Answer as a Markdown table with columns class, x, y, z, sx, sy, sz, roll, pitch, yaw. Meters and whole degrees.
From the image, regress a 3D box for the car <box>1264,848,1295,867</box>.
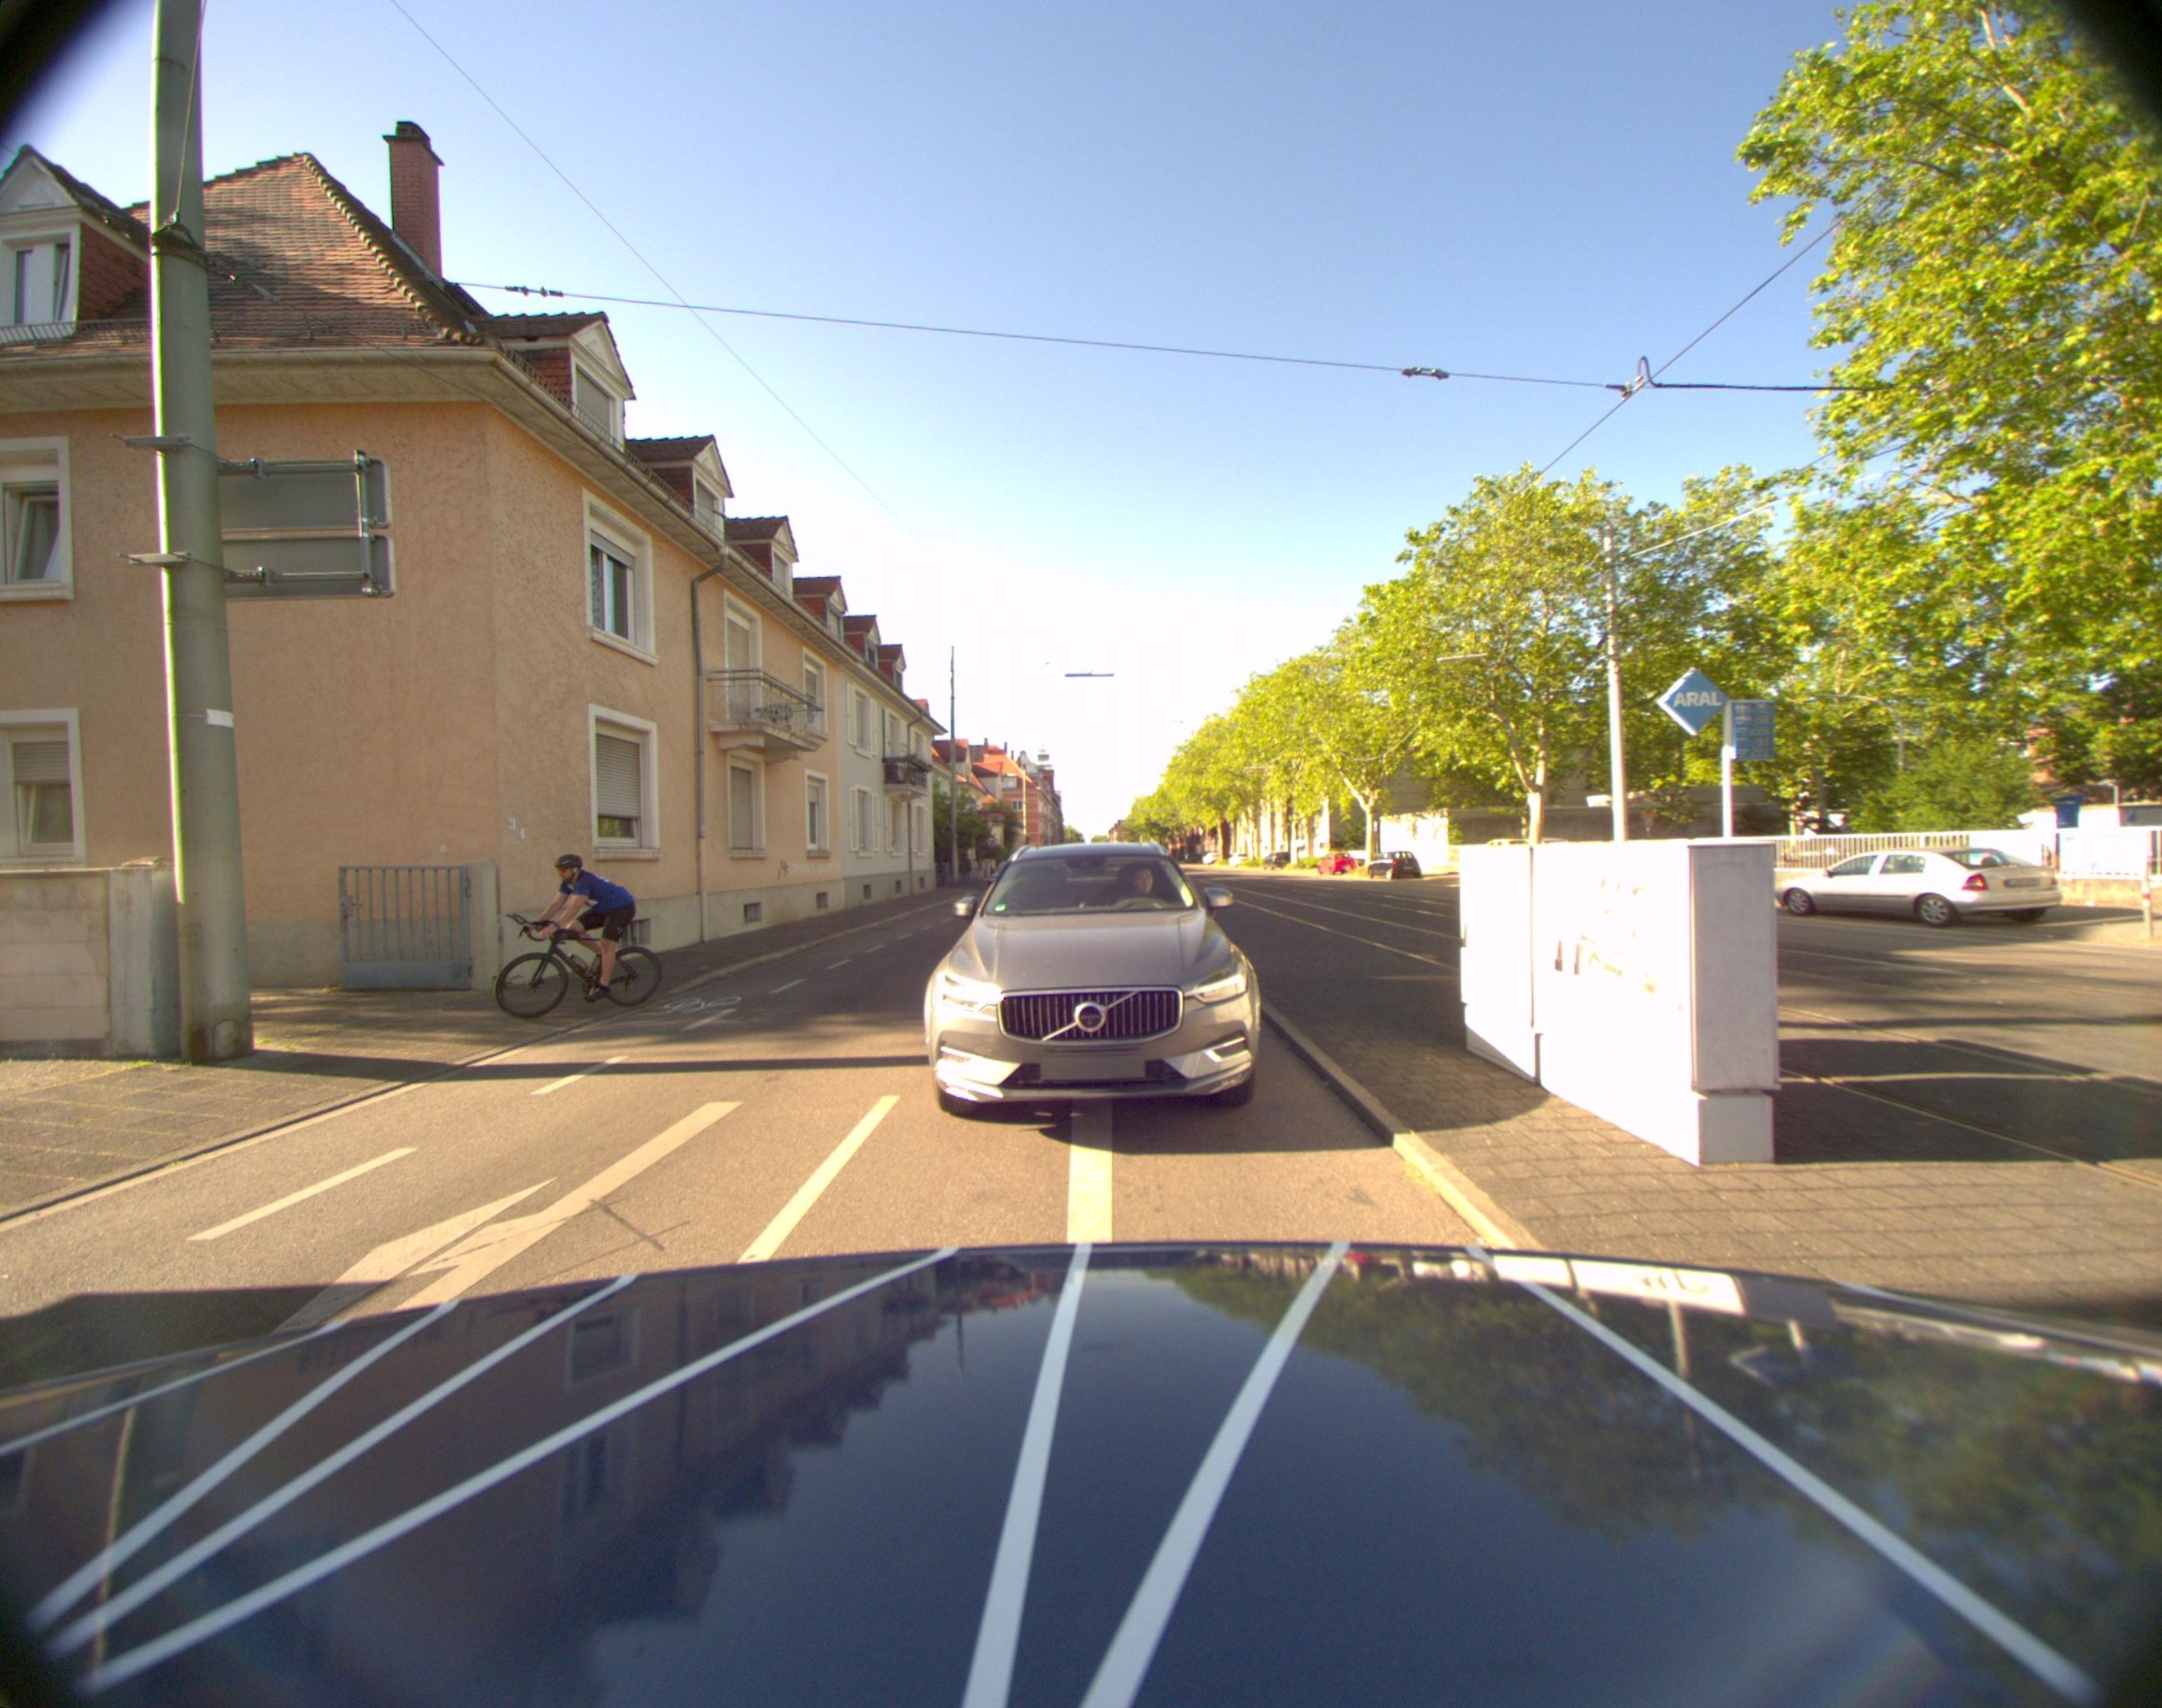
| class | x | y | z | sx | sy | sz | roll | pitch | yaw |
| --- | --- | --- | --- | --- | --- | --- | --- | --- | --- |
| car | 17.181 | 0.290 | 65.924 | 1.758 | 1.536 | 3.858 | -3 | 0 | 3 |

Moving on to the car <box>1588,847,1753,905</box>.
| class | x | y | z | sx | sy | sz | roll | pitch | yaw |
| --- | --- | --- | --- | --- | --- | --- | --- | --- | --- |
| car | 16.484 | 0.567 | 21.523 | 1.745 | 1.389 | 3.858 | -4 | 0 | 3 |

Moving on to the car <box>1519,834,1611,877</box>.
| class | x | y | z | sx | sy | sz | roll | pitch | yaw |
| --- | --- | --- | --- | --- | --- | --- | --- | --- | --- |
| car | 24.166 | 0.078 | 38.108 | 1.999 | 2.002 | 3.999 | -1 | 0 | -1 |

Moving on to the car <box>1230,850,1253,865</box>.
| class | x | y | z | sx | sy | sz | roll | pitch | yaw |
| --- | --- | --- | --- | --- | --- | --- | --- | --- | --- |
| car | 17.588 | 0.352 | 83.351 | 1.758 | 1.475 | 3.858 | -3 | 0 | 3 |

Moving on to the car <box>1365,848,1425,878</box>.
| class | x | y | z | sx | sy | sz | roll | pitch | yaw |
| --- | --- | --- | --- | --- | --- | --- | --- | --- | --- |
| car | 16.898 | 0.456 | 41.050 | 1.758 | 1.449 | 3.858 | -3 | 0 | 3 |

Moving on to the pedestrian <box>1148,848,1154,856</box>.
| class | x | y | z | sx | sy | sz | roll | pitch | yaw |
| --- | --- | --- | --- | --- | --- | --- | --- | --- | --- |
| pedestrian | 19.610 | -0.553 | 213.145 | 1.686 | 2.002 | 1.761 | -1 | 1 | 1 |

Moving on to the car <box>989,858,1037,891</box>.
| class | x | y | z | sx | sy | sz | roll | pitch | yaw |
| --- | --- | --- | --- | --- | --- | --- | --- | --- | --- |
| car | -3.230 | 0.960 | 37.085 | 1.867 | 1.399 | 4.424 | -1 | 0 | 1 |

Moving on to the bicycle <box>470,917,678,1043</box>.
| class | x | y | z | sx | sy | sz | roll | pitch | yaw |
| --- | --- | --- | --- | --- | --- | --- | --- | --- | --- |
| bicycle | -5.410 | 1.288 | 8.234 | 0.549 | 1.056 | 1.798 | 2 | 1 | 32 |

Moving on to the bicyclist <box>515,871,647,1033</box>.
| class | x | y | z | sx | sy | sz | roll | pitch | yaw |
| --- | --- | --- | --- | --- | --- | --- | --- | --- | --- |
| bicyclist | -5.416 | 1.009 | 8.270 | 0.561 | 1.607 | 1.018 | -1 | 1 | 33 |

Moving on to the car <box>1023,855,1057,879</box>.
| class | x | y | z | sx | sy | sz | roll | pitch | yaw |
| --- | --- | --- | --- | --- | --- | --- | --- | --- | --- |
| car | -2.571 | 0.809 | 48.507 | 1.867 | 1.399 | 4.078 | -1 | 0 | 1 |

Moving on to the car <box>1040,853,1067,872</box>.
| class | x | y | z | sx | sy | sz | roll | pitch | yaw |
| --- | --- | --- | --- | --- | --- | --- | --- | --- | --- |
| car | -2.124 | 0.662 | 60.066 | 1.867 | 1.399 | 4.078 | -1 | 0 | 1 |

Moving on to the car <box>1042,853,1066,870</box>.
| class | x | y | z | sx | sy | sz | roll | pitch | yaw |
| --- | --- | --- | --- | --- | --- | --- | --- | --- | --- |
| car | -2.345 | 0.615 | 66.371 | 1.867 | 1.399 | 4.078 | -1 | 0 | 1 |

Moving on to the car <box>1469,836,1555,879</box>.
| class | x | y | z | sx | sy | sz | roll | pitch | yaw |
| --- | --- | --- | --- | --- | --- | --- | --- | --- | --- |
| car | 21.818 | 0.167 | 38.649 | 1.999 | 2.002 | 3.999 | -1 | 0 | -1 |

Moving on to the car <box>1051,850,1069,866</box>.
| class | x | y | z | sx | sy | sz | roll | pitch | yaw |
| --- | --- | --- | --- | --- | --- | --- | --- | --- | --- |
| car | -2.315 | 0.426 | 85.460 | 1.867 | 1.653 | 4.078 | -1 | 0 | 1 |

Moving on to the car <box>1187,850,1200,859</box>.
| class | x | y | z | sx | sy | sz | roll | pitch | yaw |
| --- | --- | --- | --- | --- | --- | --- | --- | --- | --- |
| car | 18.519 | 0.052 | 125.301 | 1.758 | 1.475 | 3.858 | -3 | 0 | 3 |

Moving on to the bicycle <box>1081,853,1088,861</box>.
| class | x | y | z | sx | sy | sz | roll | pitch | yaw |
| --- | --- | --- | --- | --- | --- | --- | --- | --- | --- |
| bicycle | 0.578 | 0.506 | 119.894 | 1.054 | 1.262 | 3.914 | -1 | 0 | 1 |

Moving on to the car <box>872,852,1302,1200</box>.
| class | x | y | z | sx | sy | sz | roll | pitch | yaw |
| --- | --- | --- | --- | --- | --- | --- | --- | --- | --- |
| car | 0.061 | 0.813 | 5.940 | 1.998 | 1.609 | 4.697 | -1 | 0 | 1 |

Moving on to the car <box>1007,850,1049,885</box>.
| class | x | y | z | sx | sy | sz | roll | pitch | yaw |
| --- | --- | --- | --- | --- | --- | --- | --- | --- | --- |
| car | -2.906 | 0.697 | 42.840 | 1.867 | 1.778 | 5.297 | -1 | 0 | 1 |

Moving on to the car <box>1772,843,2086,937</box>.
| class | x | y | z | sx | sy | sz | roll | pitch | yaw |
| --- | --- | --- | --- | --- | --- | --- | --- | --- | --- |
| car | 16.244 | 0.606 | 14.916 | 1.847 | 1.477 | 3.858 | -4 | 0 | 2 |

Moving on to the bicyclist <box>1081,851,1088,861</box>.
| class | x | y | z | sx | sy | sz | roll | pitch | yaw |
| --- | --- | --- | --- | --- | --- | --- | --- | --- | --- |
| bicyclist | 0.573 | 0.273 | 119.799 | 1.054 | 1.496 | 1.250 | -1 | 1 | 1 |

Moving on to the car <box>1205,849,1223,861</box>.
| class | x | y | z | sx | sy | sz | roll | pitch | yaw |
| --- | --- | --- | --- | --- | --- | --- | --- | --- | --- |
| car | 17.682 | 0.159 | 100.945 | 1.758 | 1.475 | 3.858 | -3 | 0 | 3 |

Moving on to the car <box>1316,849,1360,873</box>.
| class | x | y | z | sx | sy | sz | roll | pitch | yaw |
| --- | --- | --- | --- | --- | --- | --- | --- | --- | --- |
| car | 16.911 | 0.448 | 50.192 | 1.717 | 1.421 | 3.858 | -3 | 0 | 3 |
